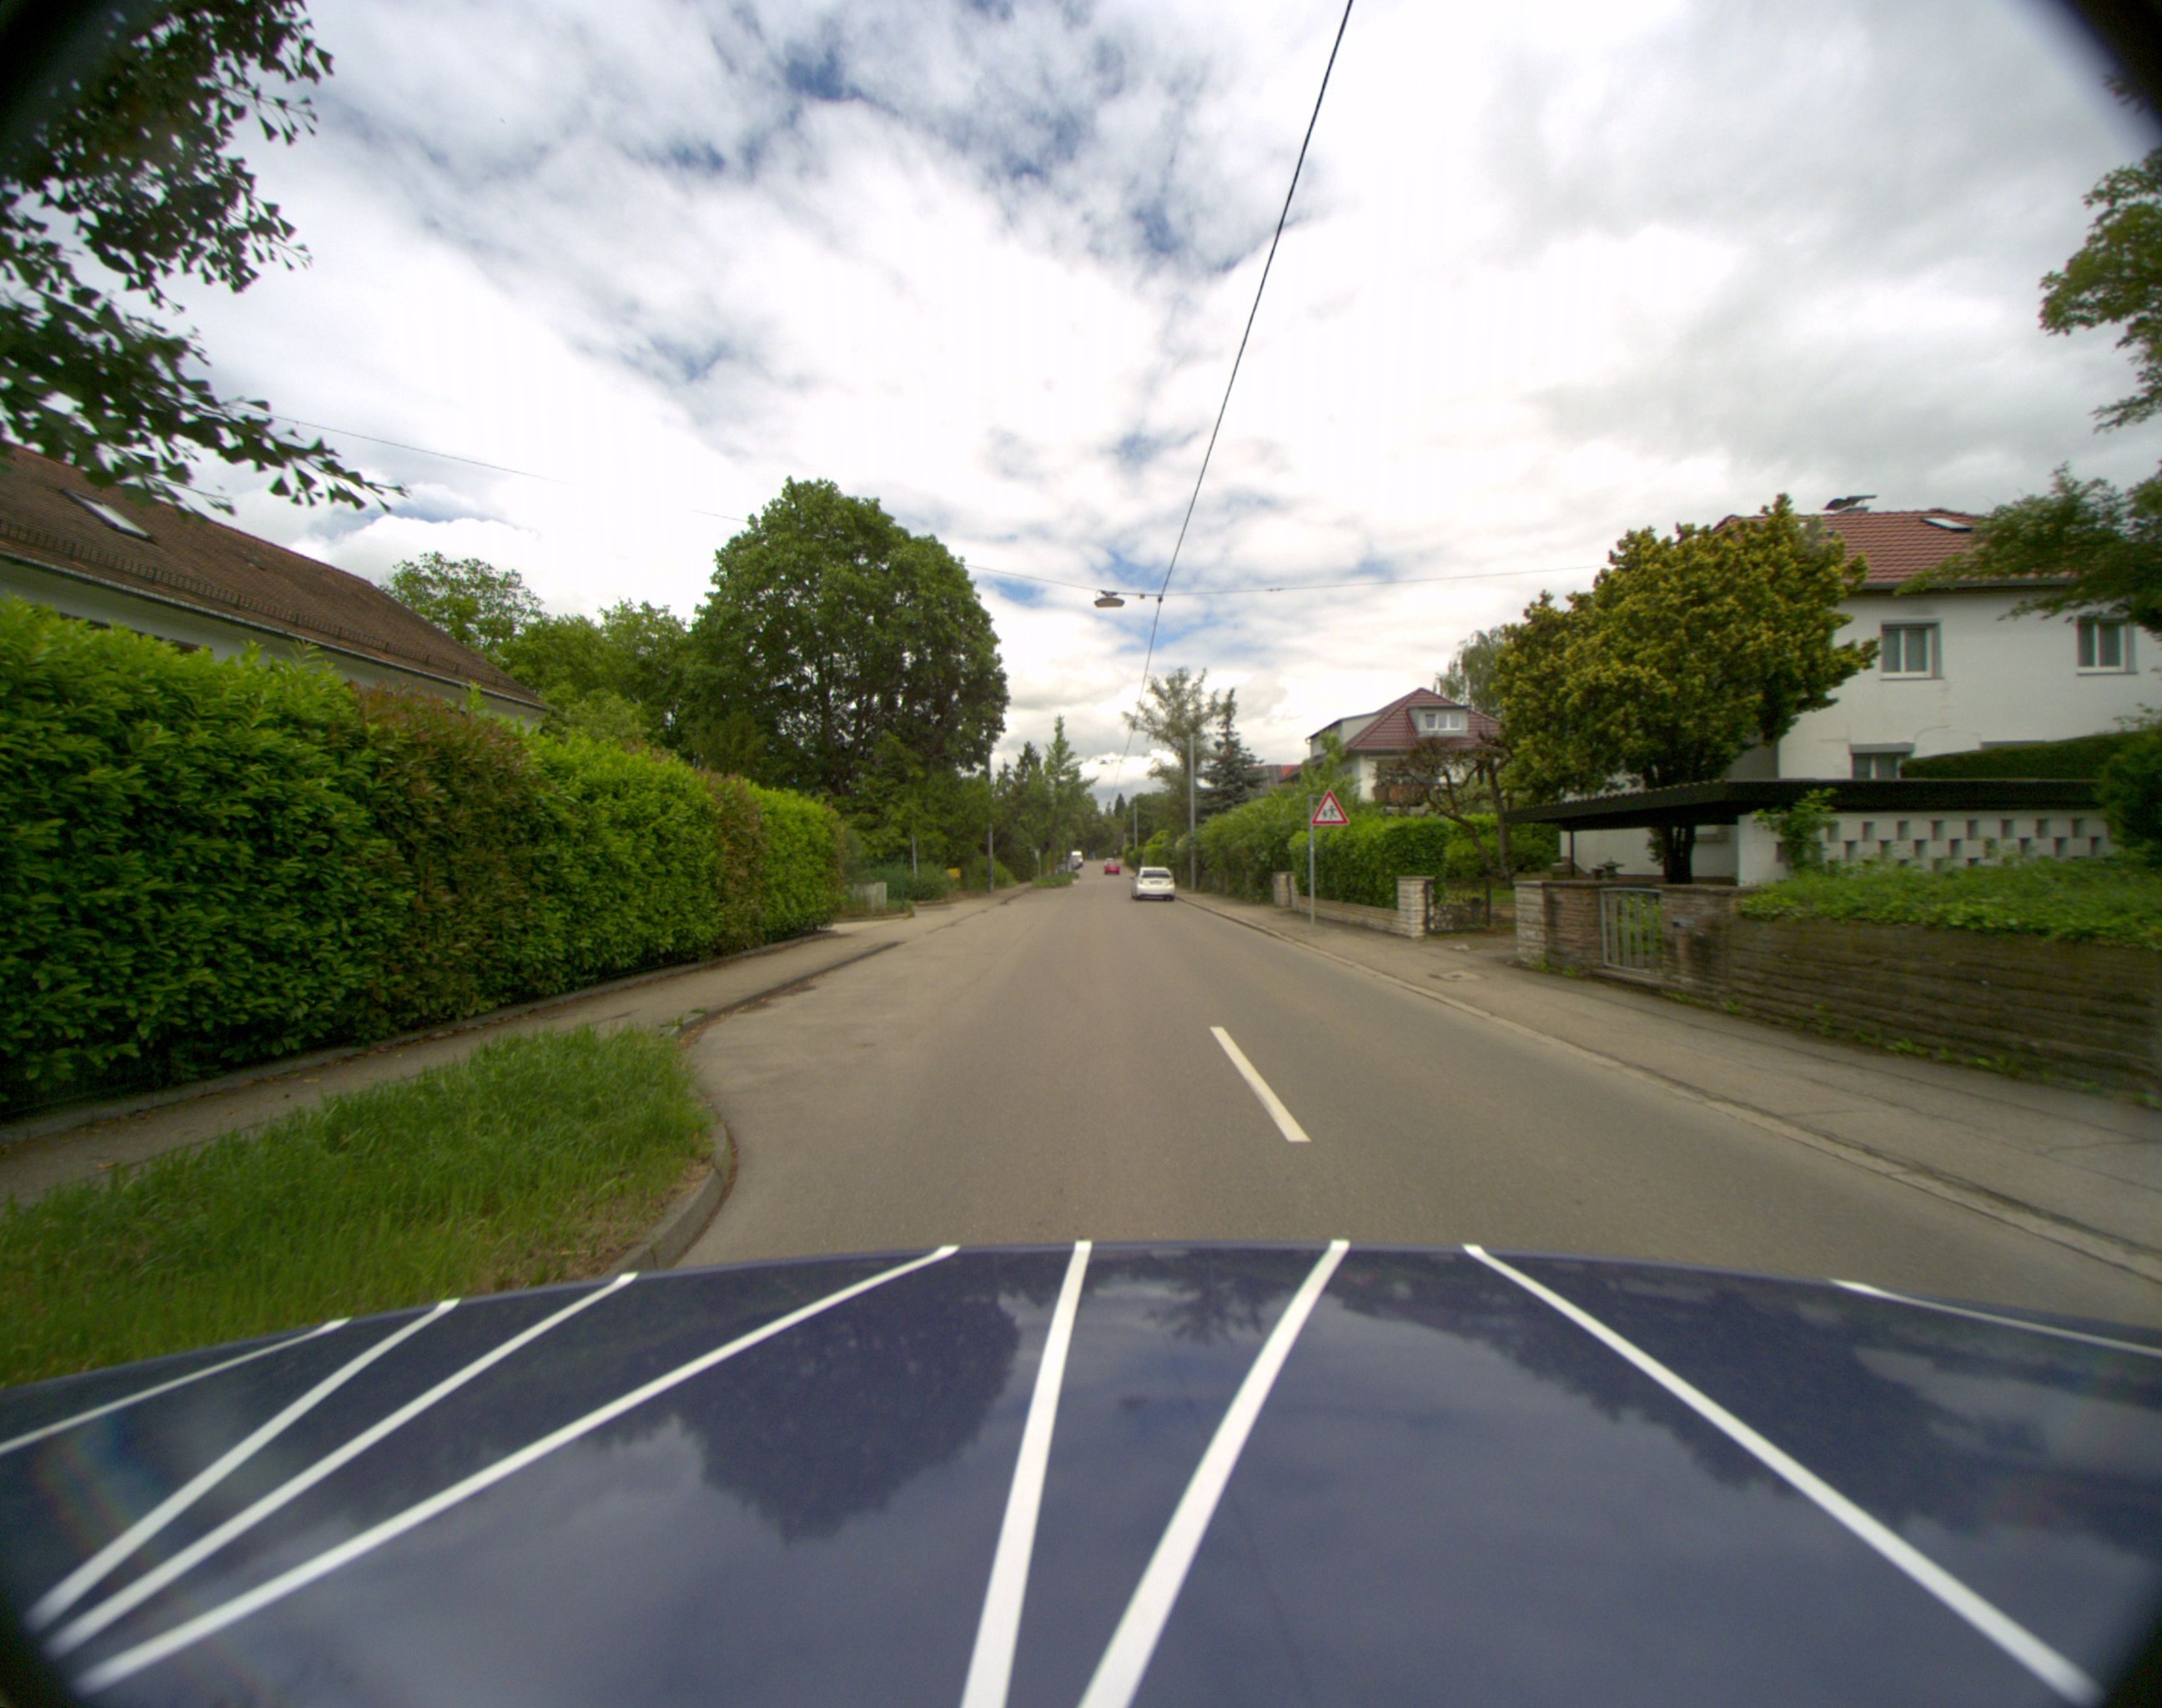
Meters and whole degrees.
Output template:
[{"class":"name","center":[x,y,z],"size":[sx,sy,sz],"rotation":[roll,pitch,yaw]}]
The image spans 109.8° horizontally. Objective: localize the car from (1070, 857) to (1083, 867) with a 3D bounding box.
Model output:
[{"class":"car","center":[-0.650,1.267,121.134],"size":[1.893,1.572,4.765],"rotation":[1,1,2]}]

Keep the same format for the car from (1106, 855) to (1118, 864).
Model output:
[{"class":"car","center":[5.122,0.925,124.185],"size":[1.810,1.423,4.301],"rotation":[0,0,0]}]

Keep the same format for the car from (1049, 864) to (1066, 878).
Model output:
[{"class":"car","center":[-2.631,1.870,86.036],"size":[1.627,1.464,3.740],"rotation":[-2,0,1]}]

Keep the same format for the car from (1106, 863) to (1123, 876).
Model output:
[{"class":"car","center":[4.000,1.818,92.071],"size":[1.810,1.423,4.118],"rotation":[2,0,0]}]

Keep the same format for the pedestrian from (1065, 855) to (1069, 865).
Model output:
[{"class":"pedestrian","center":[-2.327,0.942,126.640],"size":[0.671,1.689,0.918],"rotation":[0,1,1]}]

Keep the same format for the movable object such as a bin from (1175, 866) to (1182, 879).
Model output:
[{"class":"movable object such as a bin","center":[7.381,1.425,57.265],"size":[0.379,0.945,0.512],"rotation":[-4,0,-2]}]

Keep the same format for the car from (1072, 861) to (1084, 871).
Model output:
[{"class":"car","center":[-0.405,1.808,114.739],"size":[1.683,1.398,4.054],"rotation":[-1,-1,1]}]

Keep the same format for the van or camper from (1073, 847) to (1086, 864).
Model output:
[{"class":"van or camper","center":[-0.247,0.223,130.904],"size":[2.046,2.605,7.037],"rotation":[-2,1,-1]}]

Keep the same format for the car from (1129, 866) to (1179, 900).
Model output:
[{"class":"car","center":[3.268,1.287,34.825],"size":[1.859,1.442,4.281],"rotation":[1,0,0]}]
